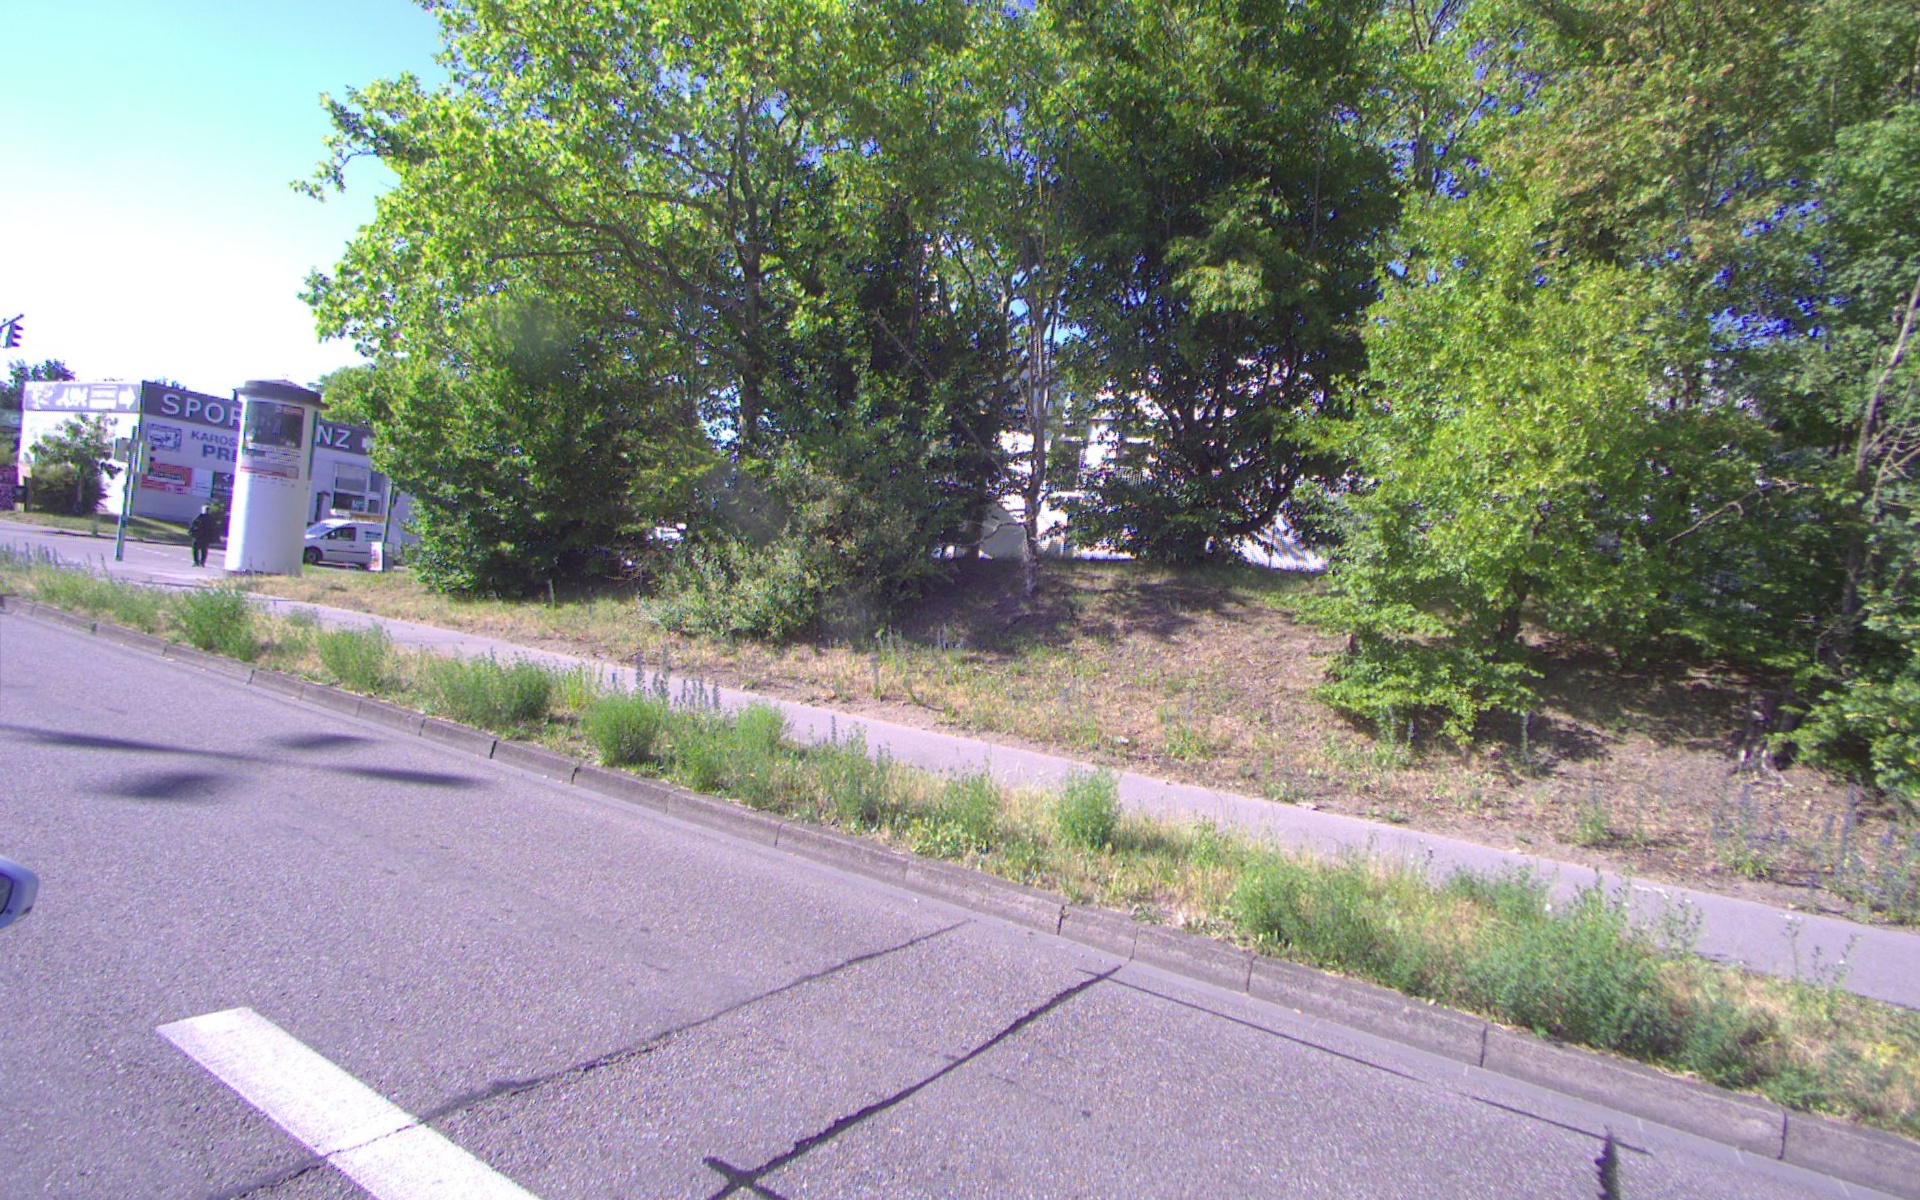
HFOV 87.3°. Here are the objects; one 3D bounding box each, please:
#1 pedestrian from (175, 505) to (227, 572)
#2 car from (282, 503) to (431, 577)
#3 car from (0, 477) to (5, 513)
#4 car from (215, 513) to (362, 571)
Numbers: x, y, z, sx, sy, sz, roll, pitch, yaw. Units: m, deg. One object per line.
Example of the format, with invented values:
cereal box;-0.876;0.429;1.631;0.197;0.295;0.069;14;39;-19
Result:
pedestrian;-21.210;-1.720;28.112;0.841;1.743;0.822;7;0;39
car;-23.392;-2.290;39.176;1.965;2.171;4.415;7;-1;28
car;-48.293;-5.346;47.685;1.663;1.726;4.003;7;-1;16
car;-26.835;-2.285;40.348;1.965;1.571;4.415;7;-1;28
